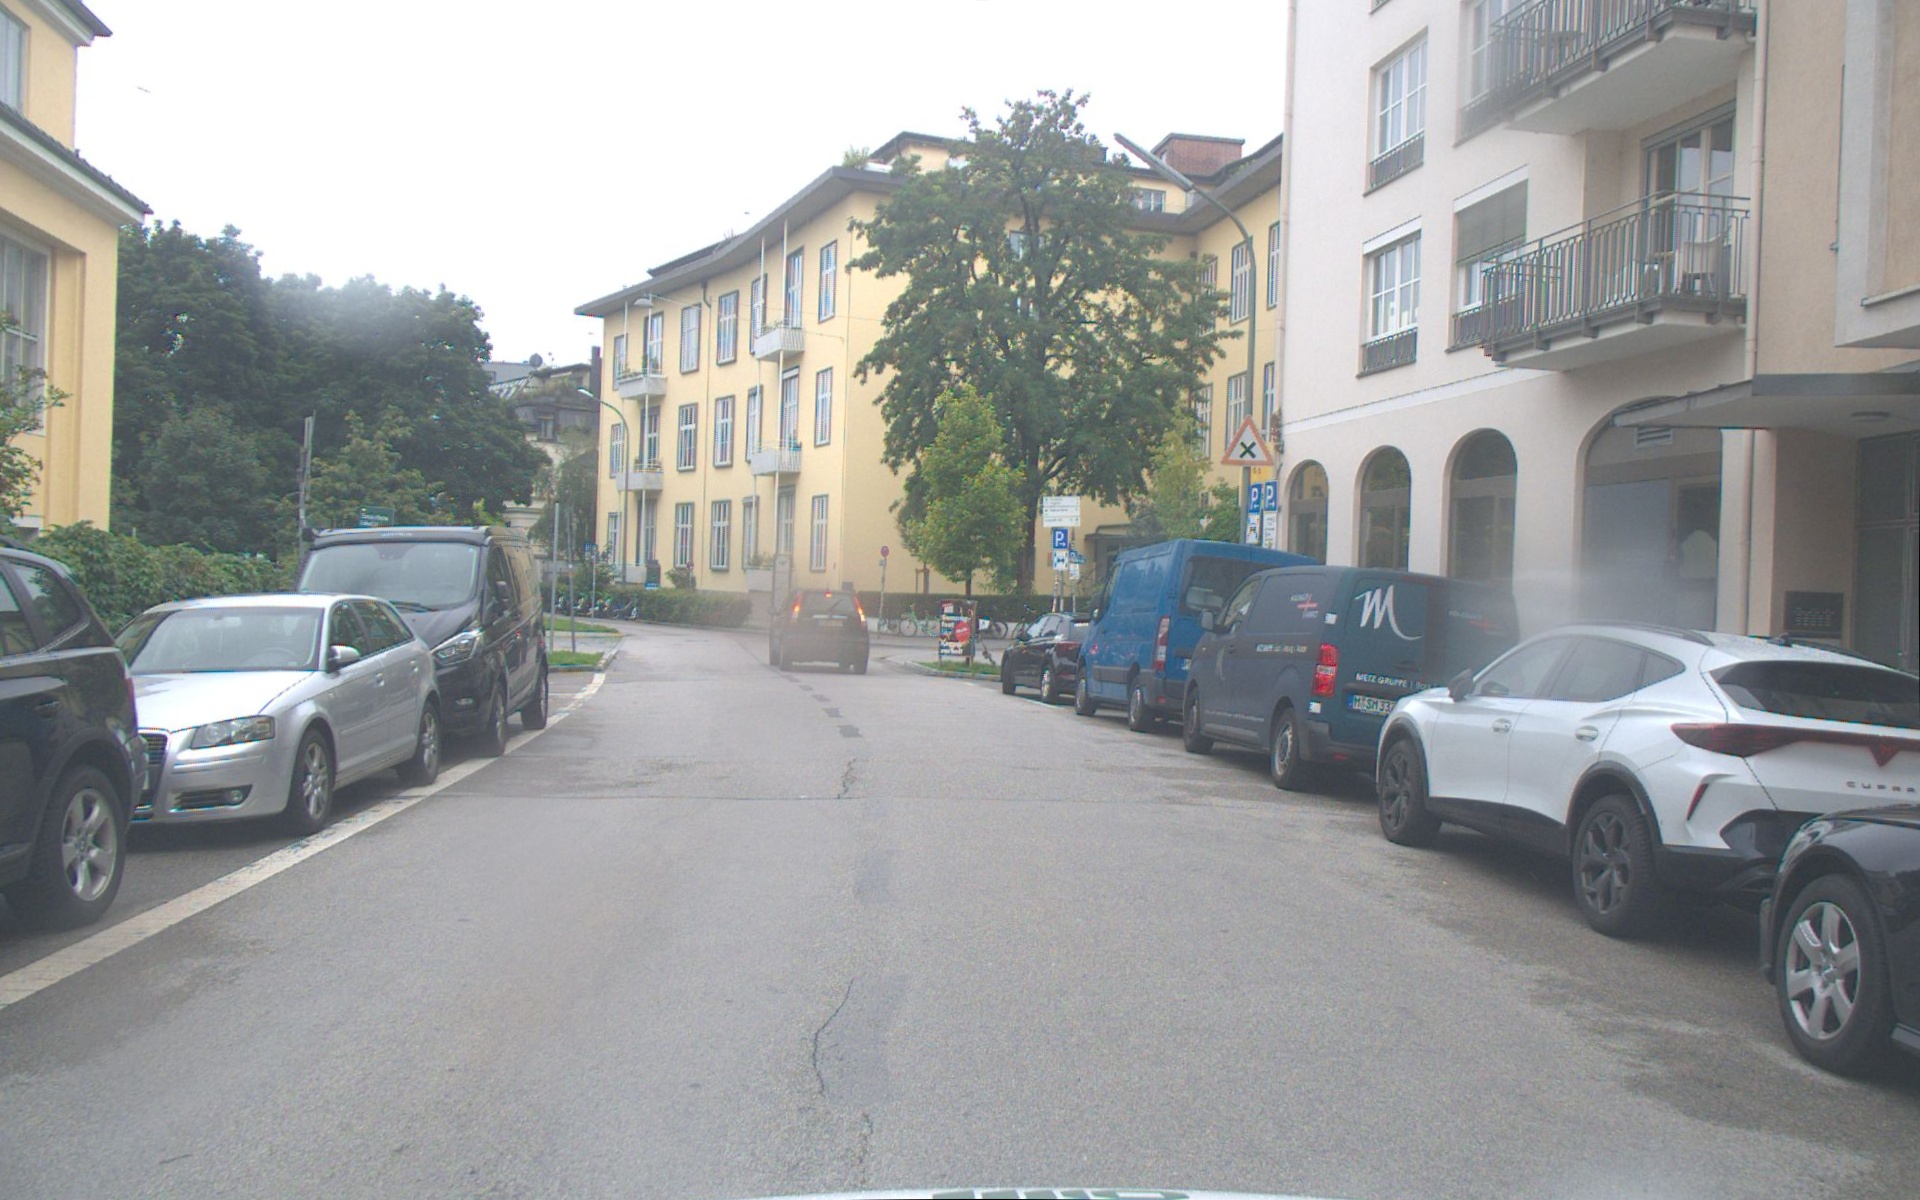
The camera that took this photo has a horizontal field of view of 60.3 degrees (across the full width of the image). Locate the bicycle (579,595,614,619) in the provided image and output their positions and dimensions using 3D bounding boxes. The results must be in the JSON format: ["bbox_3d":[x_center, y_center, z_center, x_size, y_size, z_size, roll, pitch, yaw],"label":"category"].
[{"bbox_3d":[-17.033,0.329,77.523,0.564,1.104,1.933,1,1,23],"label":"bicycle"}]

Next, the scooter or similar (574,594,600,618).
[{"bbox_3d":[-17.534,0.287,77.815,0.485,1.107,1.410,1,1,19],"label":"scooter or similar"}]

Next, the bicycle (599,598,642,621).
[{"bbox_3d":[-15.391,0.438,74.964,1.809,1.023,0.570,1,1,-37],"label":"bicycle"}]

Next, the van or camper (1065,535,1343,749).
[{"bbox_3d":[2.912,0.450,21.173,2.021,2.269,5.430,4,0,-7],"label":"van or camper"}]

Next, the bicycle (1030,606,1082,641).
[{"bbox_3d":[3.355,0.819,57.703,1.701,1.170,0.610,2,0,-5],"label":"bicycle"}]

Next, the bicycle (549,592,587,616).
[{"bbox_3d":[-18.663,0.197,78.742,0.681,1.104,2.340,1,1,16],"label":"bicycle"}]

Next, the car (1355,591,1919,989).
[{"bbox_3d":[3.932,0.881,9.527,1.707,1.563,4.268,6,1,-7],"label":"car"}]

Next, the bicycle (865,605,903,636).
[{"bbox_3d":[-2.806,0.750,60.735,0.600,1.091,2.200,1,1,-25],"label":"bicycle"}]

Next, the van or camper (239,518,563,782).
[{"bbox_3d":[-5.071,0.375,15.722,1.923,2.101,4.747,-1,0,-6],"label":"van or camper"}]

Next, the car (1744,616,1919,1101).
[{"bbox_3d":[3.966,0.904,4.163,1.704,1.525,4.494,4,0,-1],"label":"car"}]

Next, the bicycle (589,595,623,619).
[{"bbox_3d":[-16.479,0.331,77.032,0.564,1.104,1.933,1,1,23],"label":"bicycle"}]

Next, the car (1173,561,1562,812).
[{"bbox_3d":[3.518,0.667,15.410,1.926,1.848,4.930,4,0,-5],"label":"car"}]

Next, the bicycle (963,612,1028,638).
[{"bbox_3d":[1.240,0.870,57.527,2.163,0.792,0.611,2,0,12],"label":"bicycle"}]

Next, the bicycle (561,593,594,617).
[{"bbox_3d":[-18.070,0.215,78.088,0.623,1.104,1.987,1,1,16],"label":"bicycle"}]

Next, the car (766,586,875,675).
[{"bbox_3d":[-2.998,0.608,34.838,1.958,1.724,4.371,1,0,-9],"label":"car"}]

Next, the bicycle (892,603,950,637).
[{"bbox_3d":[-1.392,0.702,58.672,2.176,1.136,0.607,2,0,40],"label":"bicycle"}]

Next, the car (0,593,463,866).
[{"bbox_3d":[-4.575,0.673,10.762,1.587,1.402,4.070,-1,1,-2],"label":"car"}]

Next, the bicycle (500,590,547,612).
[{"bbox_3d":[-22.633,0.045,85.766,2.316,1.104,0.683,1,1,-39],"label":"bicycle"}]

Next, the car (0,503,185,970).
[{"bbox_3d":[-4.404,0.548,5.582,1.587,1.760,4.422,-2,0,-2],"label":"car"}]

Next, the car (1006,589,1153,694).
[{"bbox_3d":[1.892,0.627,27.295,1.671,1.544,3.953,2,0,-7],"label":"car"}]

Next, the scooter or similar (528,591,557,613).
[{"bbox_3d":[-21.260,0.087,84.262,1.382,1.107,0.594,1,0,-16],"label":"scooter or similar"}]

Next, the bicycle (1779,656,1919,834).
[{"bbox_3d":[7.441,1.095,12.673,1.124,1.207,2.206,2,0,-4],"label":"bicycle"}]

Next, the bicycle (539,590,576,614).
[{"bbox_3d":[-19.561,0.080,80.404,0.746,1.104,2.142,1,1,16],"label":"bicycle"}]

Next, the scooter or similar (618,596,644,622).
[{"bbox_3d":[-14.656,0.379,73.763,0.485,1.128,1.410,1,1,19],"label":"scooter or similar"}]
